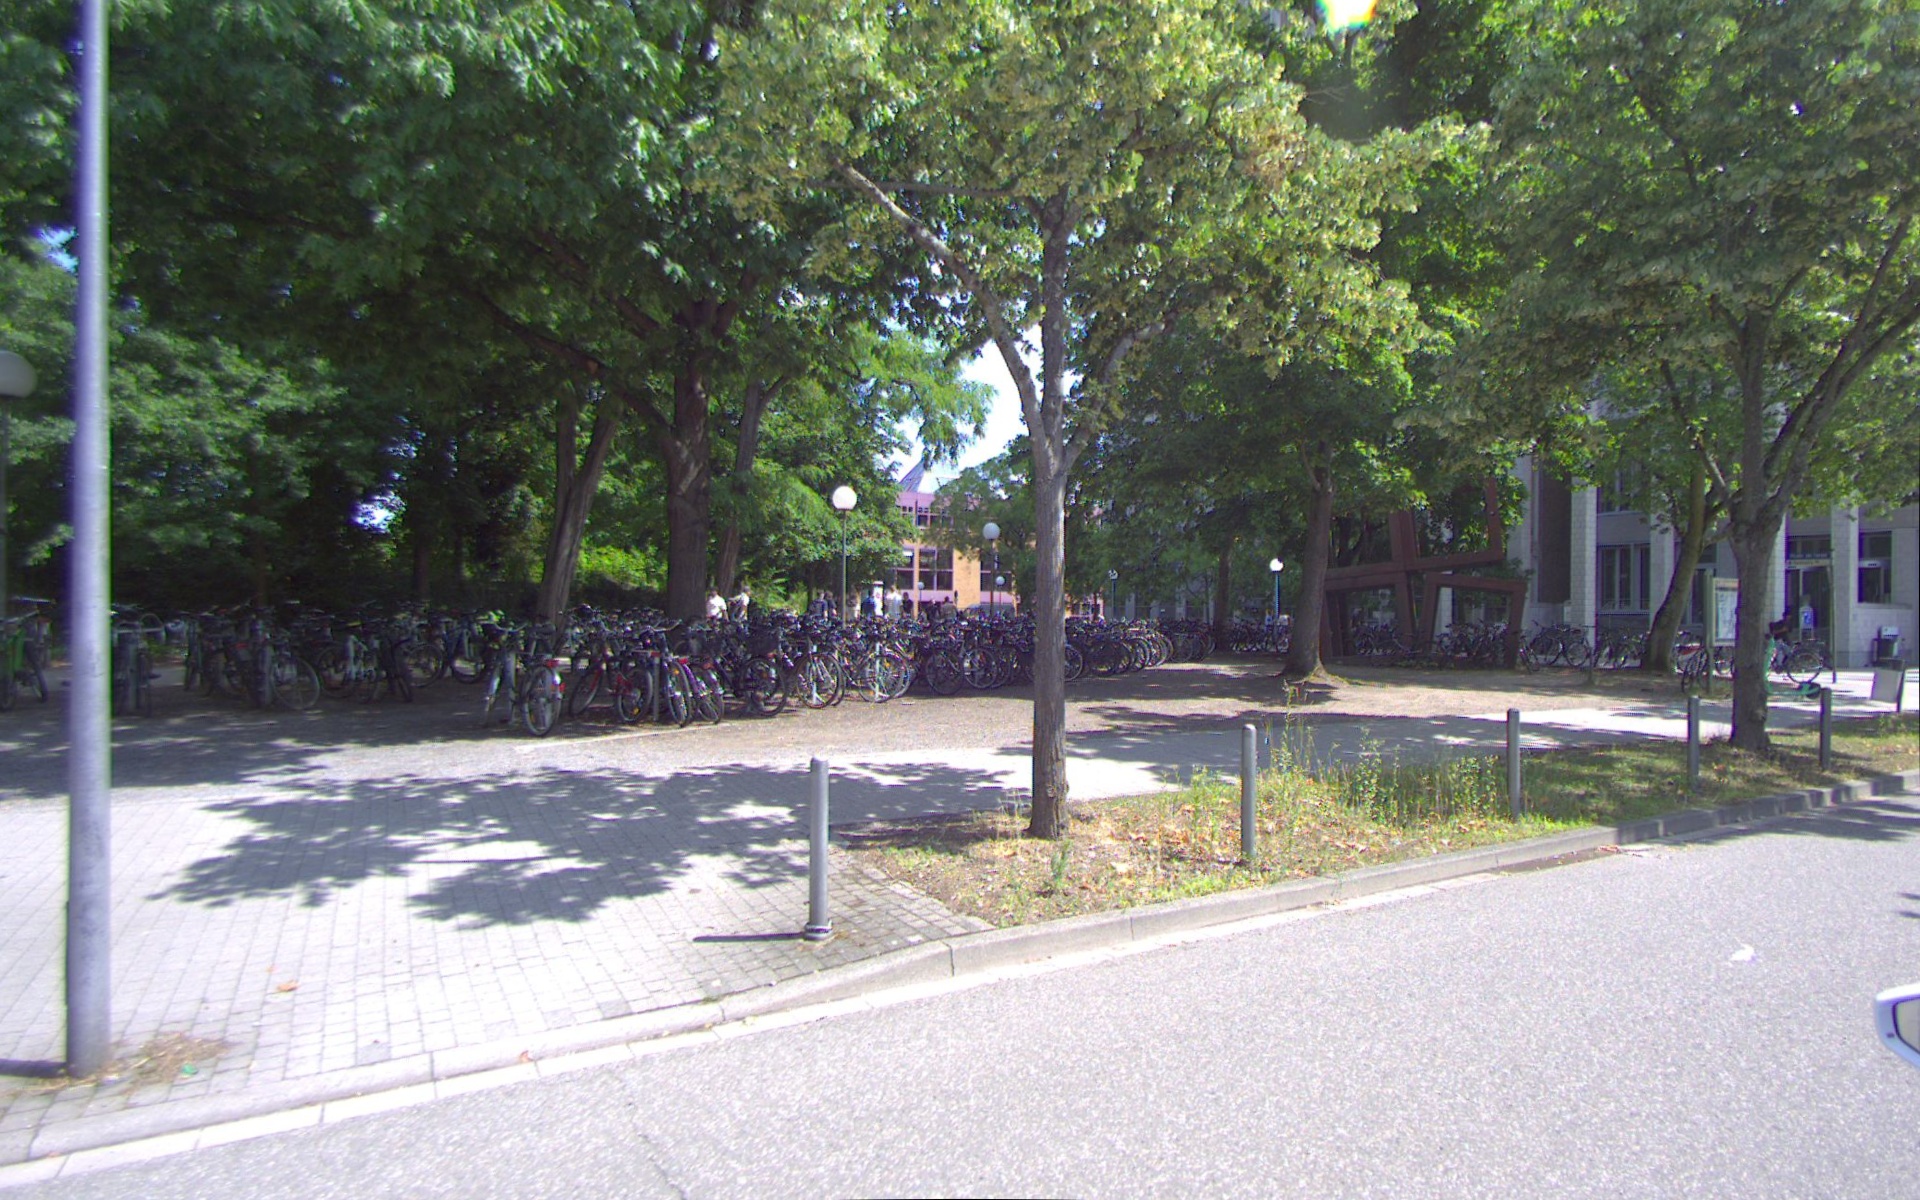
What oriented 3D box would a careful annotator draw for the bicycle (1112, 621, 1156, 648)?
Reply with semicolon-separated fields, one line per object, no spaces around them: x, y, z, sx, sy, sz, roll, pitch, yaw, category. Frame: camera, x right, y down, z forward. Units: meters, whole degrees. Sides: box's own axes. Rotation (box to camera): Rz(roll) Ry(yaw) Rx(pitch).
7.433;1.463;42.834;1.950;1.101;0.549;1;1;-30;bicycle

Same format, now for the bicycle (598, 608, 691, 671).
-5.984;0.727;19.009;1.933;1.104;0.546;1;1;32;bicycle

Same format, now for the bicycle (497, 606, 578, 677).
-7.181;0.673;17.019;1.940;1.104;0.544;1;1;44;bicycle

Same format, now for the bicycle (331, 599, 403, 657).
-12.304;0.565;20.818;1.927;1.106;0.595;1;0;38;bicycle

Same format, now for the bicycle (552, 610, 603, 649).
-9.565;0.722;25.077;1.741;0.906;0.417;1;1;41;bicycle

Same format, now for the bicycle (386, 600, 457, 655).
-11.556;0.579;21.543;1.927;1.106;0.595;1;0;38;bicycle

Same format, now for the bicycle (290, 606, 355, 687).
-9.134;0.627;14.364;0.533;1.041;1.944;0;1;-40;bicycle

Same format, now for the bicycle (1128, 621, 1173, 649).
8.022;1.468;42.325;1.950;1.101;0.549;1;1;-30;bicycle

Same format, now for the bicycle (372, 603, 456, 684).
-8.193;0.622;15.037;1.940;1.104;0.534;1;1;43;bicycle

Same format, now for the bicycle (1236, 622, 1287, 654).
10.845;1.369;36.085;1.950;1.101;0.549;1;1;-30;bicycle

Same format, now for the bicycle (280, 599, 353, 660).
-12.705;0.565;19.801;1.927;1.106;0.595;1;0;38;bicycle

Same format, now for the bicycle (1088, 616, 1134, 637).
6.678;1.156;44.376;2.258;0.887;0.417;1;1;-31;bicycle

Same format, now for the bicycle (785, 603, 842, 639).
-4.636;0.649;31.770;2.029;1.049;0.504;1;1;37;bicycle

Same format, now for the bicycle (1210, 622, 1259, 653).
10.190;1.382;37.246;1.950;1.101;0.549;1;1;-30;bicycle

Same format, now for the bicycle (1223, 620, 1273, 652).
10.499;1.303;36.612;1.950;1.101;0.549;1;1;-30;bicycle

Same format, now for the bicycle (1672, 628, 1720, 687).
13.823;1.057;18.840;1.802;1.039;0.378;1;0;-43;bicycle

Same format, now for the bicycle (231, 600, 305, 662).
-13.258;0.574;19.224;1.927;1.106;0.595;1;0;38;bicycle

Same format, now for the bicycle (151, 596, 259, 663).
-13.496;0.518;17.951;1.920;1.106;0.597;2;0;22;bicycle

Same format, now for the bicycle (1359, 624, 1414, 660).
13.627;1.339;32.062;1.950;1.101;0.549;1;1;-30;bicycle

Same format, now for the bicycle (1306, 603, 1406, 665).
9.810;0.819;24.936;2.248;1.469;0.606;1;0;28;bicycle

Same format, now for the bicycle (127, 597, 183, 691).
-10.651;0.542;13.271;0.533;1.141;1.944;0;1;-40;bicycle

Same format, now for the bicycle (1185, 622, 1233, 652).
9.622;1.410;38.726;1.950;1.101;0.549;1;1;-30;bicycle

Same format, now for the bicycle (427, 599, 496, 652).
-11.145;0.549;22.438;1.927;1.106;0.595;1;0;38;bicycle

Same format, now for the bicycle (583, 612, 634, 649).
-9.085;0.774;25.930;1.741;0.906;0.417;1;1;41;bicycle

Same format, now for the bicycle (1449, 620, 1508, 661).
13.764;1.076;26.649;1.828;1.046;0.473;1;0;-30;bicycle

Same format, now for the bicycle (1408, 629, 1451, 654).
18.603;1.637;39.804;1.971;0.959;0.522;1;0;-31;bicycle

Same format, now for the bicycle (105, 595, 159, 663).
-14.403;0.488;17.456;0.593;1.106;1.933;2;-1;-42;bicycle

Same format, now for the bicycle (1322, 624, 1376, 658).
12.917;1.355;33.361;1.950;1.101;0.549;1;1;-30;bicycle

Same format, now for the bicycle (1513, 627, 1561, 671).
13.398;1.125;23.305;1.644;0.978;0.471;1;0;-42;bicycle

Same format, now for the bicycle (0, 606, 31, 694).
-11.660;0.602;11.852;0.530;1.028;1.796;1;0;-27;bicycle

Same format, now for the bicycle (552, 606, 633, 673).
-6.553;0.670;17.852;1.940;1.104;0.544;1;1;44;bicycle

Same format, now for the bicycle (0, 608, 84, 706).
-10.797;0.622;11.642;0.530;1.028;1.796;1;0;-27;bicycle

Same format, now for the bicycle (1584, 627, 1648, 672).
17.050;1.270;26.091;1.950;1.101;0.549;1;1;-30;bicycle

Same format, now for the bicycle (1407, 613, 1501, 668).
11.742;0.954;23.894;1.984;1.270;0.586;-1;-1;28;bicycle

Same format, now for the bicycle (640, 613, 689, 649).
-8.078;0.844;27.439;1.741;0.906;0.417;1;1;41;bicycle

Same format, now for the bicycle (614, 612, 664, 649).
-8.572;0.806;26.799;1.741;0.906;0.417;1;1;41;bicycle

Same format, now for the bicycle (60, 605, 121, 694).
-11.052;0.596;12.800;0.533;1.017;1.944;0;1;-40;bicycle

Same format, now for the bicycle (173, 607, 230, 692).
-10.311;0.637;13.630;0.533;1.041;1.944;0;1;-40;bicycle

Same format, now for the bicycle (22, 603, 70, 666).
-15.102;0.555;16.609;0.542;0.955;1.860;2;-1;-42;bicycle

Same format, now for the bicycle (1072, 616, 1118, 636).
6.087;1.157;45.083;2.258;0.887;0.417;1;1;-31;bicycle

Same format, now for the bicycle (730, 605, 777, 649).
-6.163;0.787;29.908;1.772;1.223;0.421;1;1;44;bicycle

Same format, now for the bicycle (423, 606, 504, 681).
-8.023;0.665;16.196;1.940;1.104;0.544;1;1;44;bicycle

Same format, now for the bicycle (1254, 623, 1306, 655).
11.272;1.361;35.357;1.950;1.101;0.549;1;1;-30;bicycle

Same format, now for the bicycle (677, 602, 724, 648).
-7.347;0.689;28.388;1.772;1.223;0.421;1;1;44;bicycle
